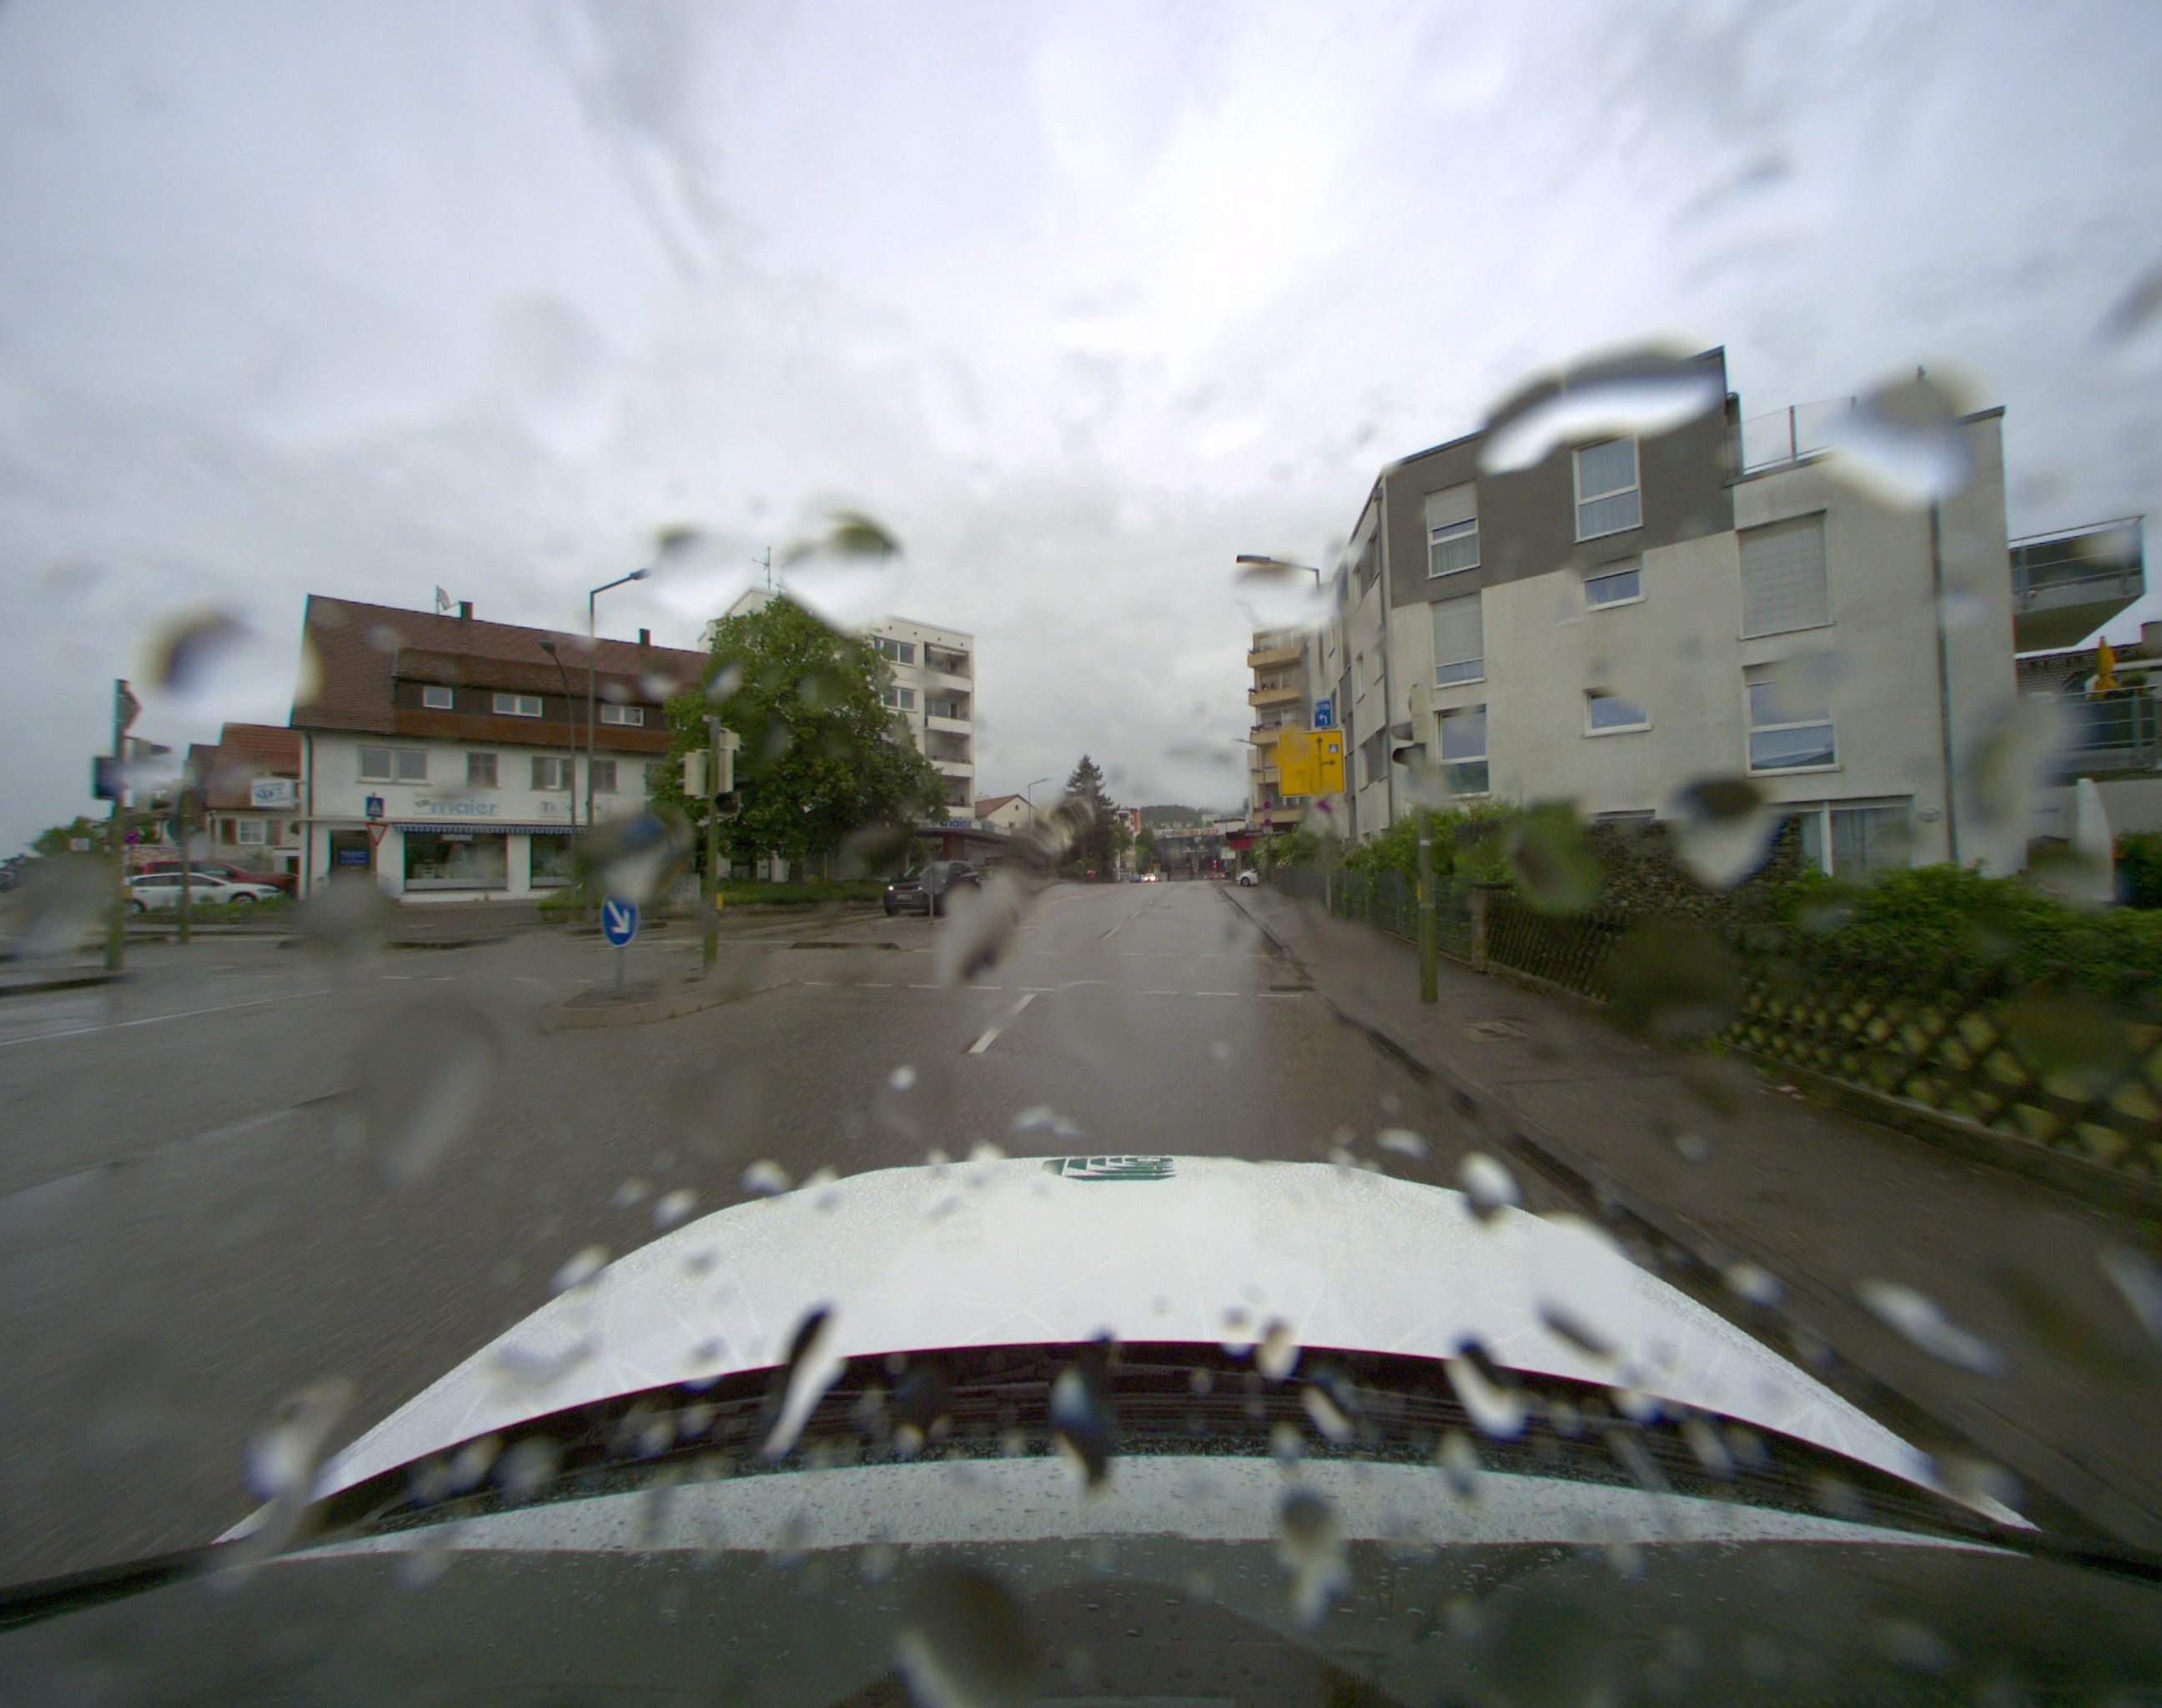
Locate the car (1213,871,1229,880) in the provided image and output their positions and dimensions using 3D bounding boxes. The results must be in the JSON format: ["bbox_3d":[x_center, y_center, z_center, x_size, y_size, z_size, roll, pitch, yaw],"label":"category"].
[{"bbox_3d":[25.038,3.856,145.841,1.976,1.534,4.670,-1,-3,21],"label":"car"}]

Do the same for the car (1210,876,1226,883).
[{"bbox_3d":[27.807,5.115,165.185,1.787,1.419,4.025,-3,-2,31],"label":"car"}]

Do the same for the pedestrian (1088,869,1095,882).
[{"bbox_3d":[1.278,2.595,98.997,0.866,1.607,1.104,-1,-3,2],"label":"pedestrian"}]

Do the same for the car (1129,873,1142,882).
[{"bbox_3d":[9.593,4.147,143.996,1.641,1.521,4.337,-1,-2,11],"label":"car"}]

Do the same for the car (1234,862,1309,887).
[{"bbox_3d":[12.151,1.306,51.984,4.215,1.494,1.885,-1,0,37],"label":"car"}]

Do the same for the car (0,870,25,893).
[{"bbox_3d":[-98.055,2.515,74.032,3.950,2.014,2.012,-2,-1,45],"label":"car"}]

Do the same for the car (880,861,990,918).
[{"bbox_3d":[-4.413,1.040,25.309,1.790,1.557,4.333,-1,0,12],"label":"car"}]

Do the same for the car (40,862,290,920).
[{"bbox_3d":[-33.167,1.268,29.852,5.884,1.842,1.976,0,-1,-41],"label":"car"}]

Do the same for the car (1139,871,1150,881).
[{"bbox_3d":[10.848,3.769,138.741,1.689,1.409,4.007,-4,-1,7],"label":"car"}]

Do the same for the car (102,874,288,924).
[{"bbox_3d":[-30.642,1.510,28.365,4.017,1.526,1.978,-1,-1,-35],"label":"car"}]
